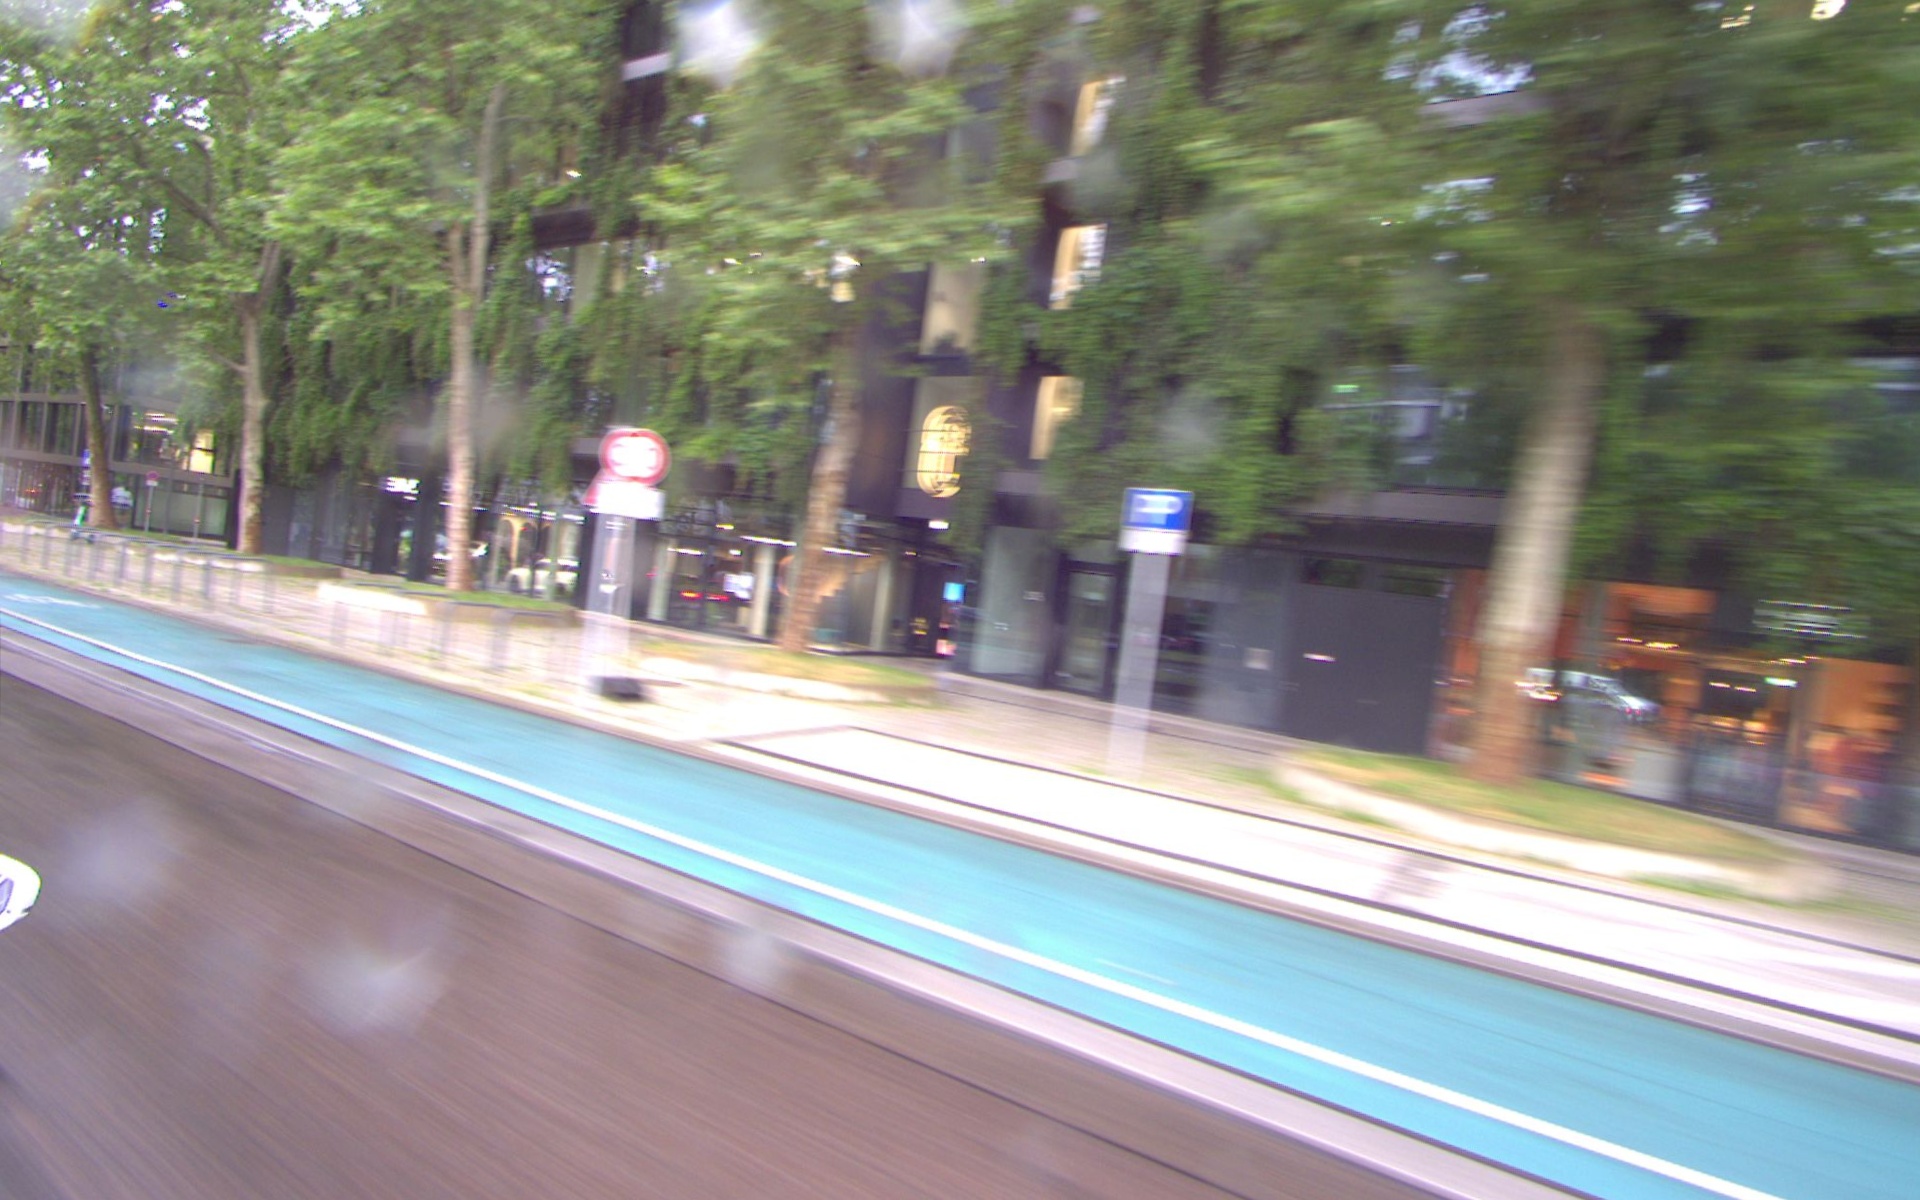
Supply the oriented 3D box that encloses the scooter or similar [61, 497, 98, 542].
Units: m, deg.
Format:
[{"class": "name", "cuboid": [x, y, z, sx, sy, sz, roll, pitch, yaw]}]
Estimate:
[{"class": "scooter or similar", "cuboid": [-26.026, -2.372, 29.761, 0.377, 1.243, 1.073, 7, 0, -22]}]
